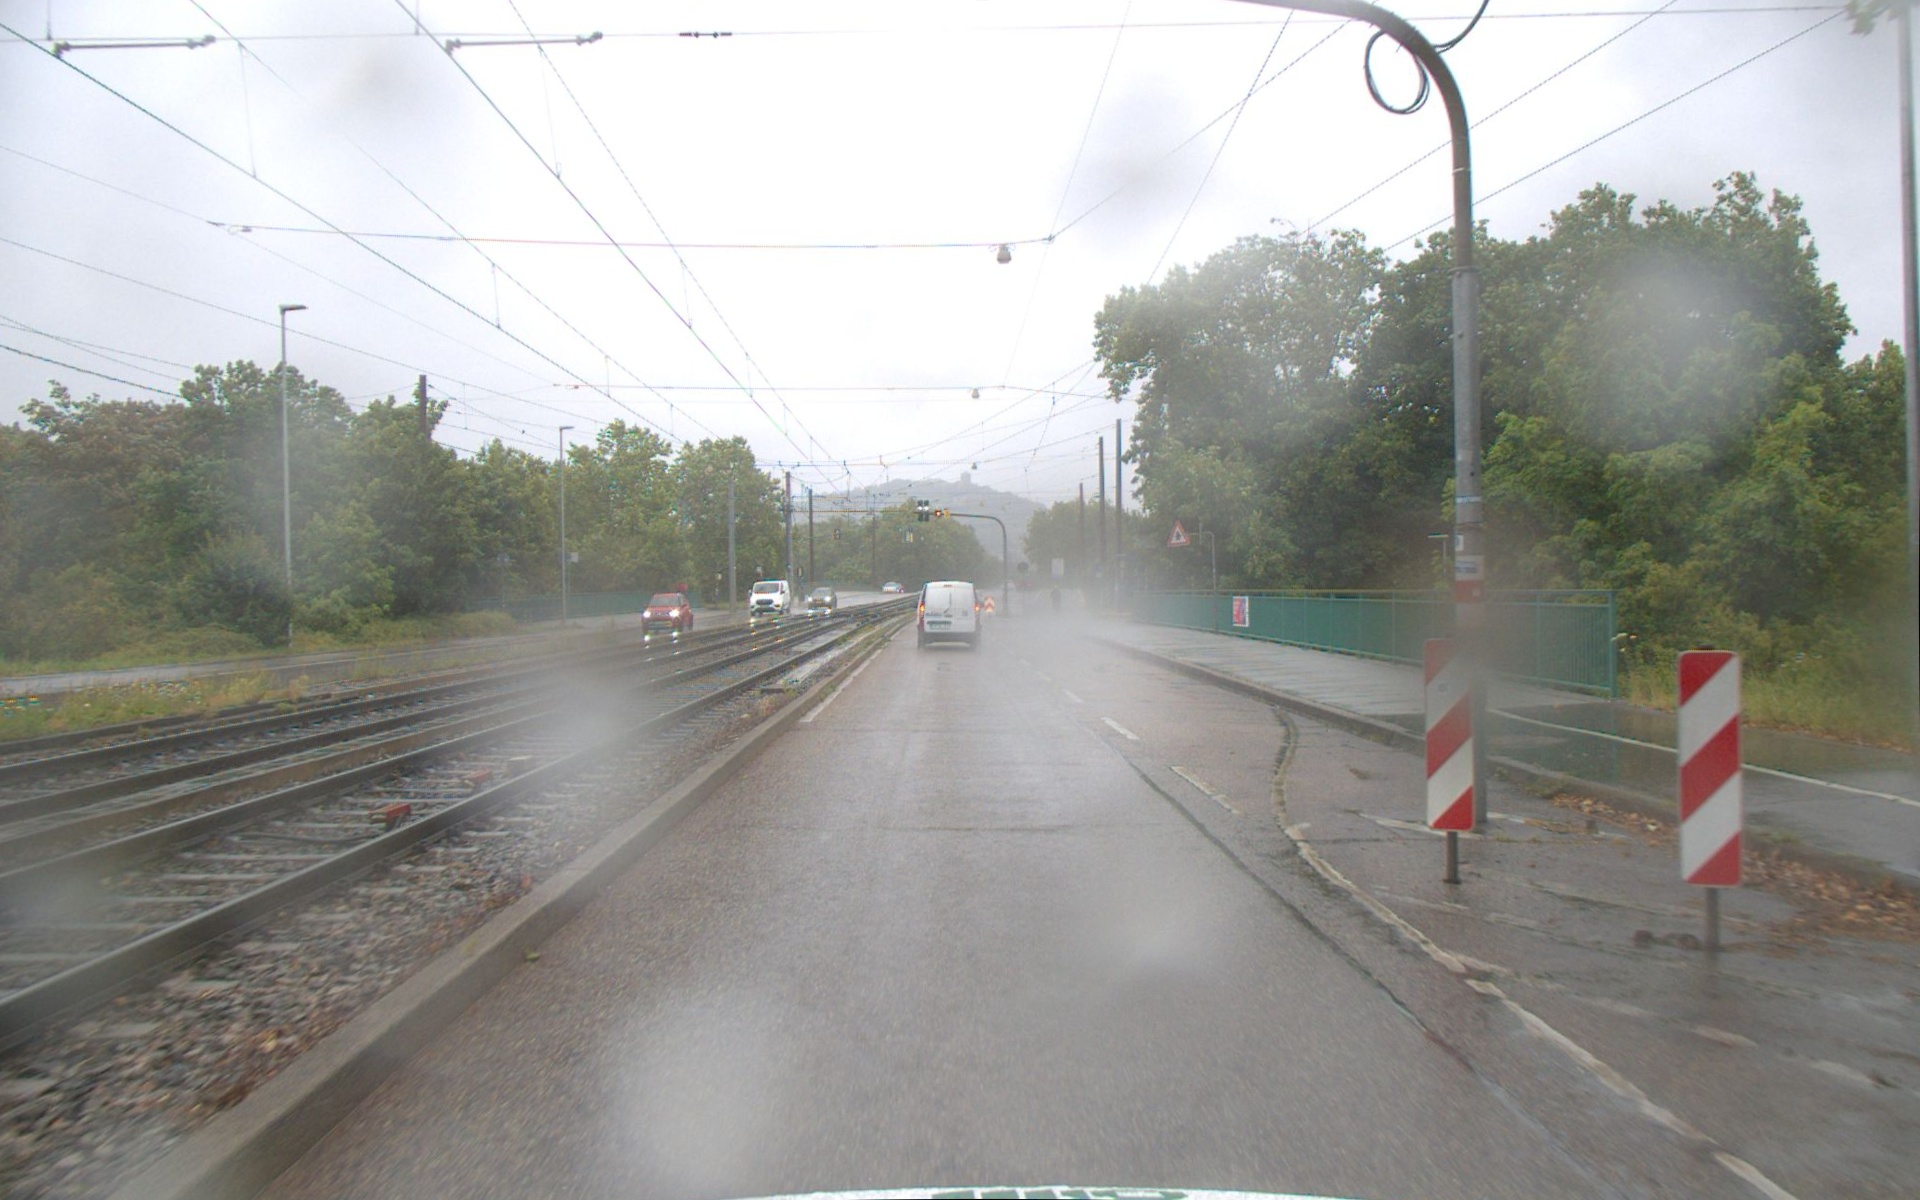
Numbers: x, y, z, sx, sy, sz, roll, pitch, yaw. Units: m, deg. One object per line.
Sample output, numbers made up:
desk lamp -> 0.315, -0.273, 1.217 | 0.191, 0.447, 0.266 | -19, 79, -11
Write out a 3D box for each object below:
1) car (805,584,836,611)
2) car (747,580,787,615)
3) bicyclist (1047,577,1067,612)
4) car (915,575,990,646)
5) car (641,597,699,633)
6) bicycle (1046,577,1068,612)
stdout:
car -> -10.407, -0.155, 123.985 | 1.952, 1.982, 4.000 | 0, 0, 0
car -> -11.652, -0.125, 99.728 | 1.959, 2.049, 3.986 | 0, 0, -13
bicyclist -> 5.716, -0.328, 97.651 | 1.078, 2.049, 1.674 | 0, -1, -1
car -> -0.251, 0.283, 45.738 | 1.953, 1.881, 3.998 | 0, 0, -2
car -> -12.047, 0.616, 68.915 | 1.782, 1.422, 3.999 | -1, 0, -1
bicycle -> 5.710, -0.319, 97.630 | 1.083, 2.049, 3.050 | 0, -1, -1
